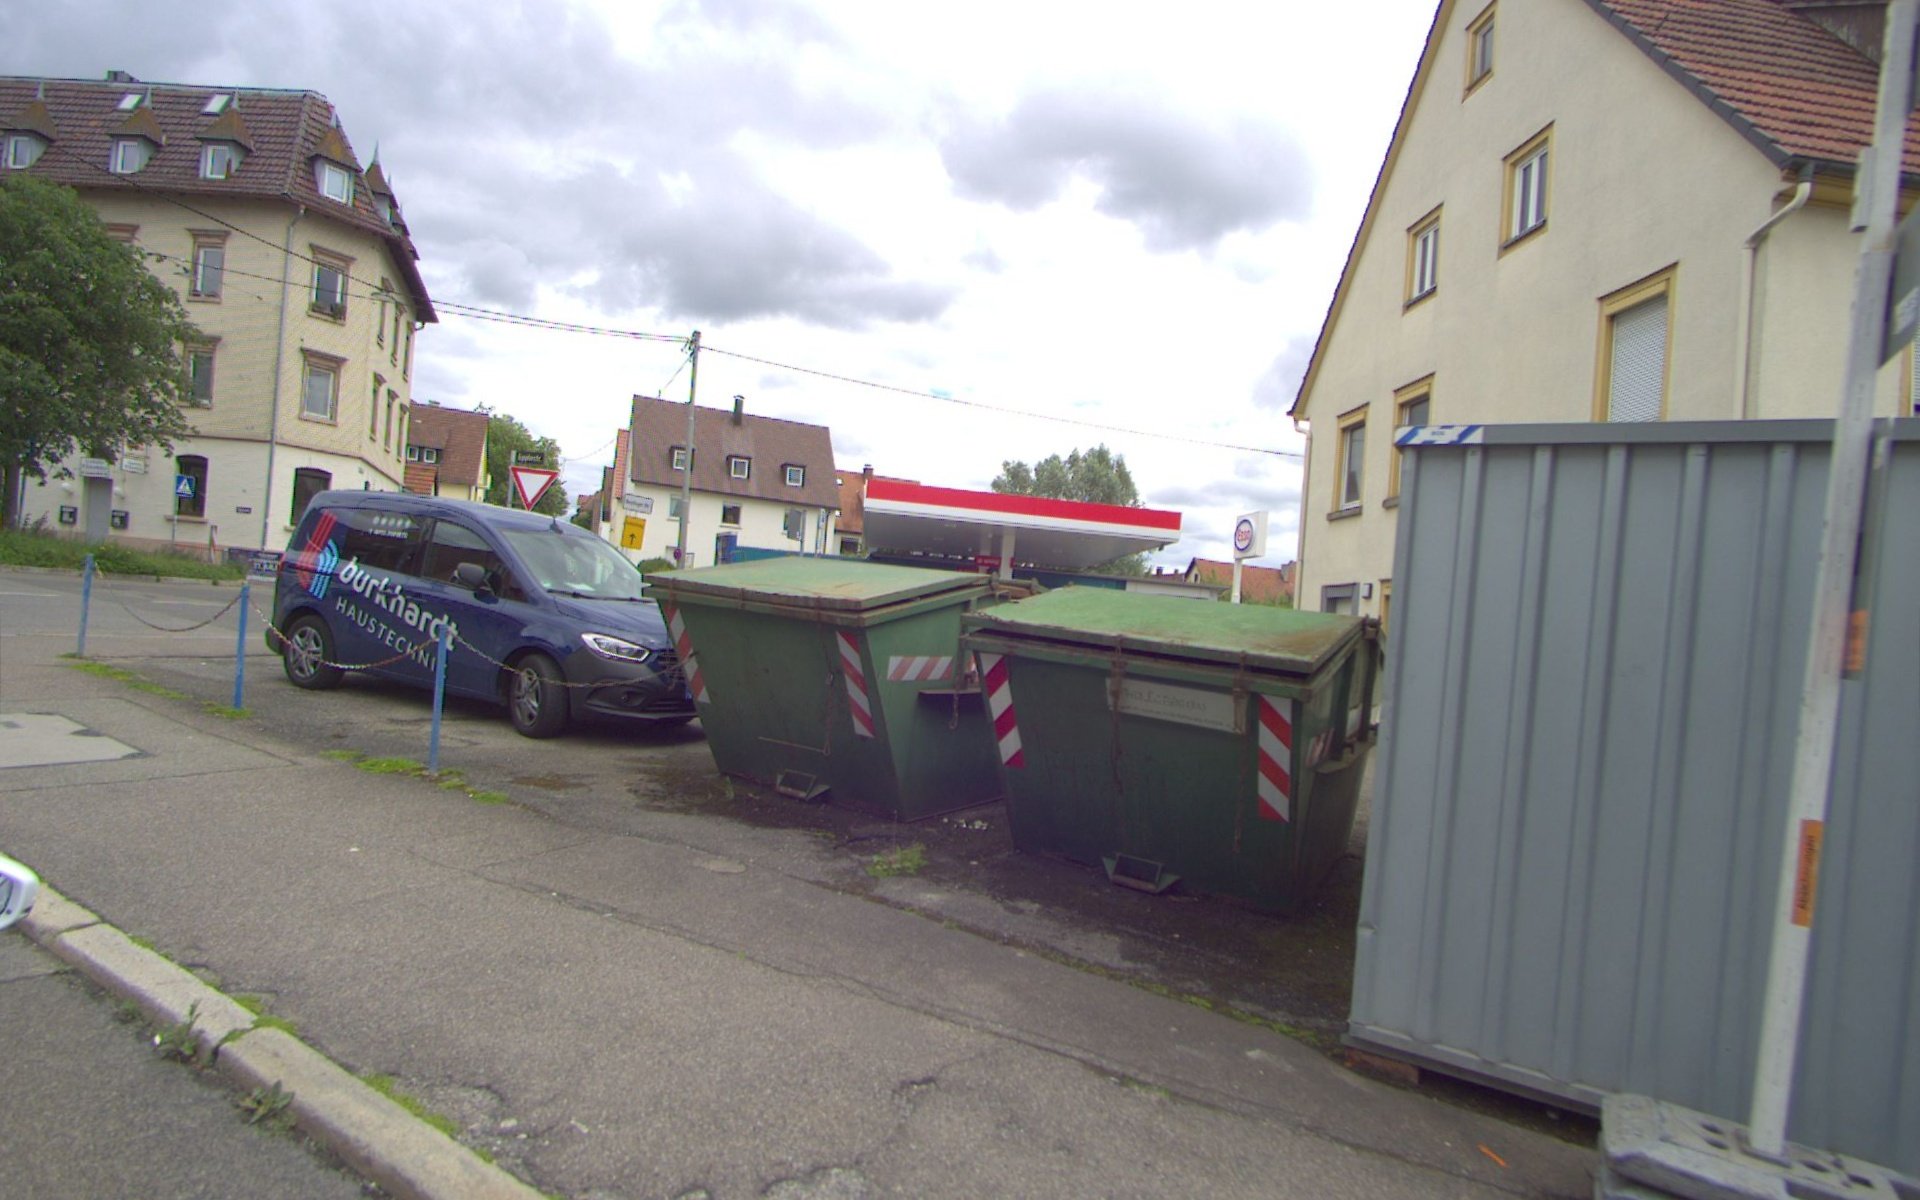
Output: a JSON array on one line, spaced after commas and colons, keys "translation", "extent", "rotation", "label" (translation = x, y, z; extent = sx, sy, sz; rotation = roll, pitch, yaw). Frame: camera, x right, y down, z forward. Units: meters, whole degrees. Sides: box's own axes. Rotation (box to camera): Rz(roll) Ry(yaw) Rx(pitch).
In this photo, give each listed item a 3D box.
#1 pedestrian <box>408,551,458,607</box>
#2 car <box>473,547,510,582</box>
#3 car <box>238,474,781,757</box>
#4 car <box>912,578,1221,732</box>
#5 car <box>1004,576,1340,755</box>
[{"translation": [-18.062, -0.717, 34.470], "extent": [0.846, 1.752, 1.021], "rotation": [7, -2, 31], "label": "pedestrian"}, {"translation": [-32.205, -2.419, 69.270], "extent": [1.975, 2.036, 3.979], "rotation": [9, -3, -24], "label": "car"}, {"translation": [-4.034, 0.029, 8.910], "extent": [4.489, 1.762, 1.749], "rotation": [7, 2, 24], "label": "car"}, {"translation": [1.718, 0.930, 17.175], "extent": [4.804, 1.823, 1.904], "rotation": [8, -2, -1], "label": "car"}, {"translation": [2.769, 0.884, 13.705], "extent": [3.930, 1.747, 1.869], "rotation": [8, -2, -5], "label": "car"}]
